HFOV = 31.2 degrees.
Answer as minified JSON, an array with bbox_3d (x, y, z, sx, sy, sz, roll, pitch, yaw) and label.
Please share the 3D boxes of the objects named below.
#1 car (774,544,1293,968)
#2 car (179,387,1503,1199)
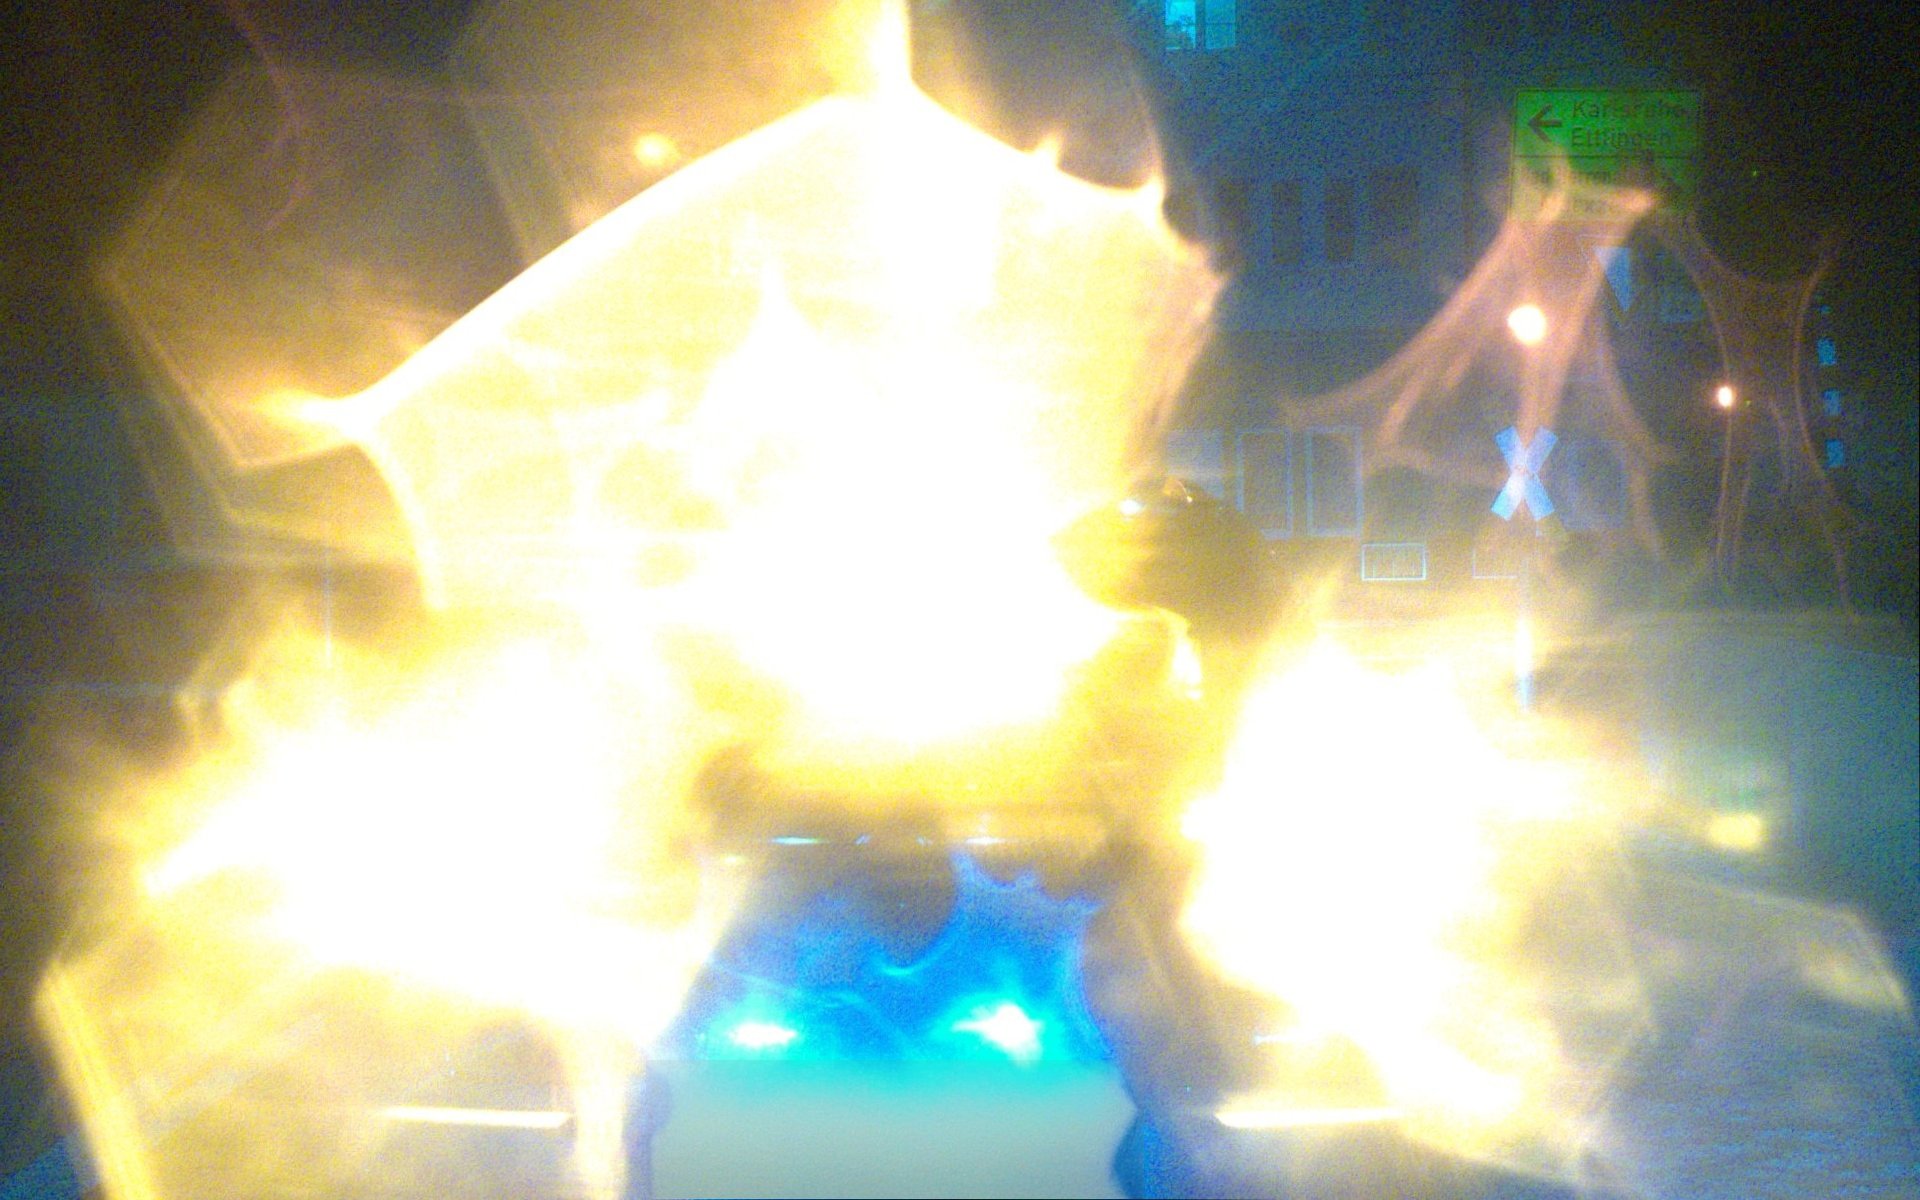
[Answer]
[{"bbox_3d":[0.344,0.500,13.627,1.744,1.410,4.000,-1,1,3],"label":"car"},{"bbox_3d":[-0.144,0.498,6.618,1.791,1.675,3.904,0,1,1],"label":"car"}]
